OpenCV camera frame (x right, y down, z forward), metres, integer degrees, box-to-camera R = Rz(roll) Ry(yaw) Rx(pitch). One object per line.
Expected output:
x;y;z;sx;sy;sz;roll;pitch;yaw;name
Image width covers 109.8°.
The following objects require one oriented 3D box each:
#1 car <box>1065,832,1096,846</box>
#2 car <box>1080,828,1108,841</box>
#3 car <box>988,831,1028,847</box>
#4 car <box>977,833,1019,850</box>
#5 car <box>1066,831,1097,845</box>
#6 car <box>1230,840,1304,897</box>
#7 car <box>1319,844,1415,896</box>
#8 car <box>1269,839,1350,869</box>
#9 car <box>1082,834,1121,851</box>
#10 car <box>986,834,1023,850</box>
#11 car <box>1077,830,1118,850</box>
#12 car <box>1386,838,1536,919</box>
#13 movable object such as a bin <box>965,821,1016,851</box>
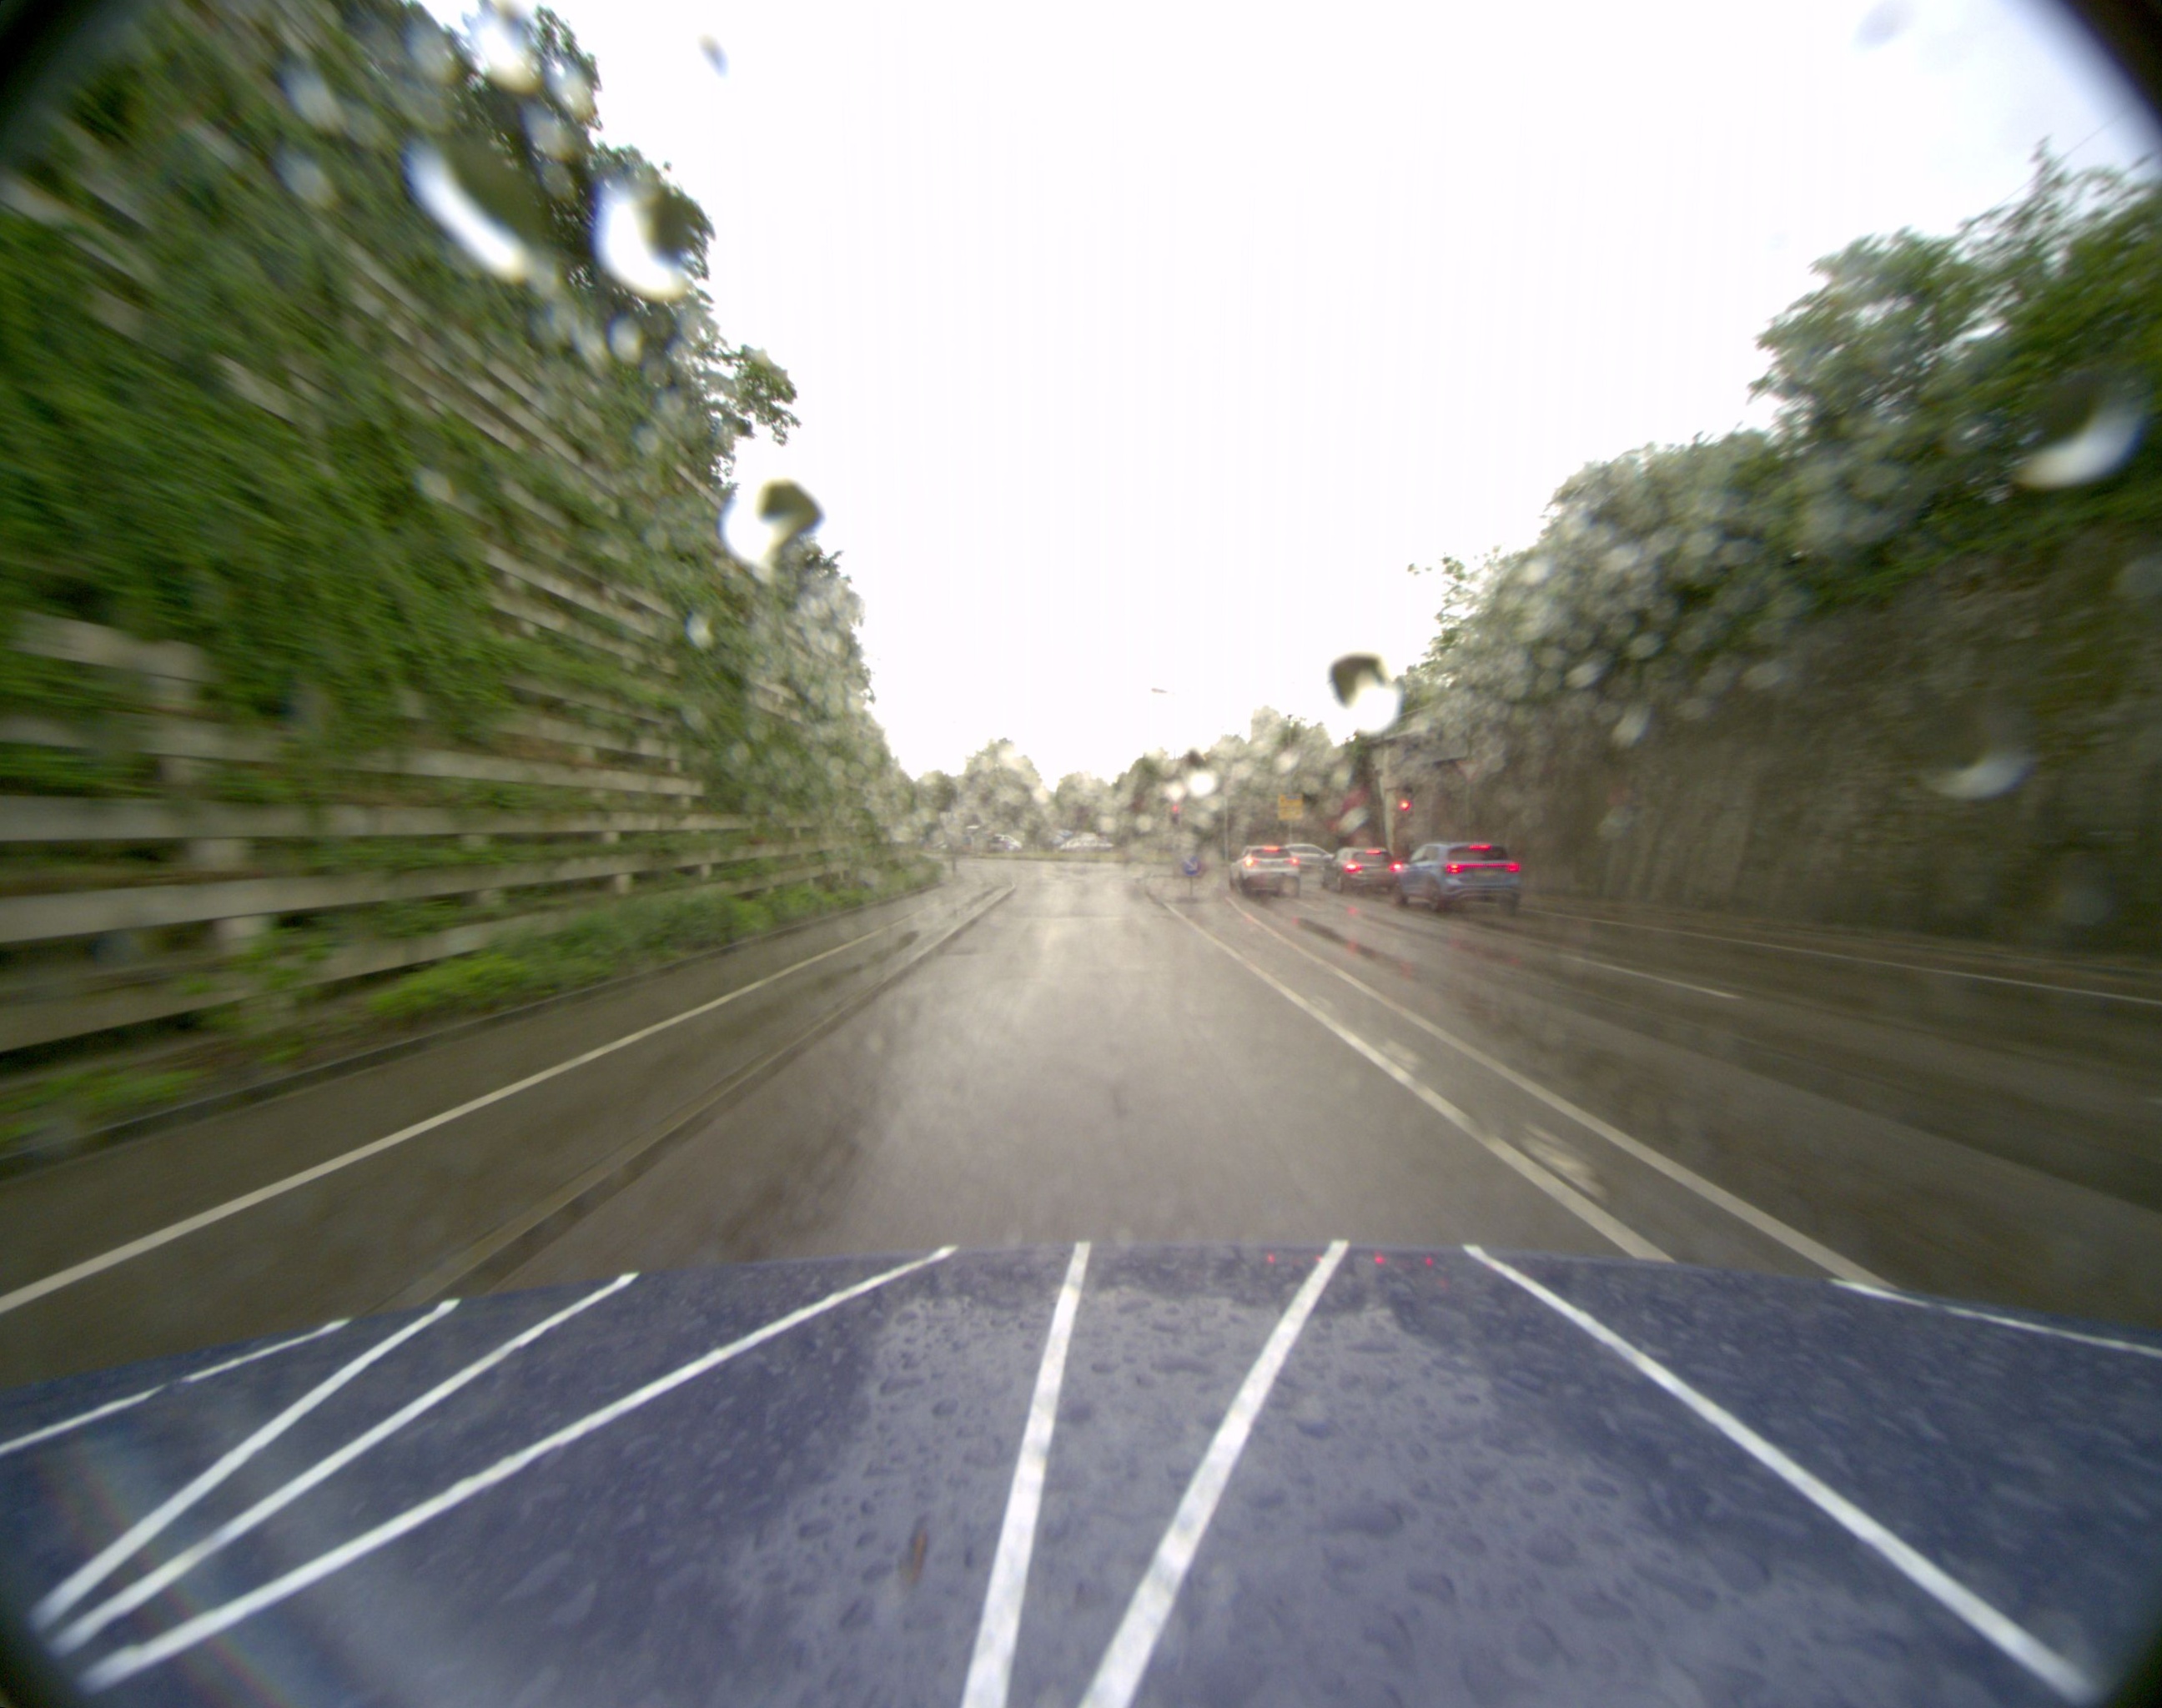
-0.035;-1.990;101.044;3.961;1.869;1.693;1;2;-4;car
1.624;-2.486;95.862;3.478;1.531;1.447;1;2;-2;car
-8.522;-1.708;88.721;4.386;1.756;1.921;1;2;1;car
-8.341;-1.242;76.353;3.997;1.565;1.670;1;2;0;car
0.071;-2.076;98.477;3.880;1.619;1.693;1;2;-4;car
5.967;0.390;24.787;1.872;1.593;4.000;-1;2;7;car
9.356;0.448;25.313;1.997;1.494;4.731;1;2;8;car
12.482;-0.031;41.720;4.146;1.499;1.684;1;2;13;car
2.027;-1.174;76.596;3.822;1.559;1.774;1;2;0;car
-8.191;-1.300;81.228;3.707;1.565;1.592;1;2;1;car
1.688;-1.490;78.931;4.232;1.969;1.903;1;2;0;car
8.827;0.477;18.064;1.819;1.648;4.051;-1;1;5;car
-8.497;-1.622;70.644;2.315;2.671;5.687;0;1;-35;movable object such as a bin
